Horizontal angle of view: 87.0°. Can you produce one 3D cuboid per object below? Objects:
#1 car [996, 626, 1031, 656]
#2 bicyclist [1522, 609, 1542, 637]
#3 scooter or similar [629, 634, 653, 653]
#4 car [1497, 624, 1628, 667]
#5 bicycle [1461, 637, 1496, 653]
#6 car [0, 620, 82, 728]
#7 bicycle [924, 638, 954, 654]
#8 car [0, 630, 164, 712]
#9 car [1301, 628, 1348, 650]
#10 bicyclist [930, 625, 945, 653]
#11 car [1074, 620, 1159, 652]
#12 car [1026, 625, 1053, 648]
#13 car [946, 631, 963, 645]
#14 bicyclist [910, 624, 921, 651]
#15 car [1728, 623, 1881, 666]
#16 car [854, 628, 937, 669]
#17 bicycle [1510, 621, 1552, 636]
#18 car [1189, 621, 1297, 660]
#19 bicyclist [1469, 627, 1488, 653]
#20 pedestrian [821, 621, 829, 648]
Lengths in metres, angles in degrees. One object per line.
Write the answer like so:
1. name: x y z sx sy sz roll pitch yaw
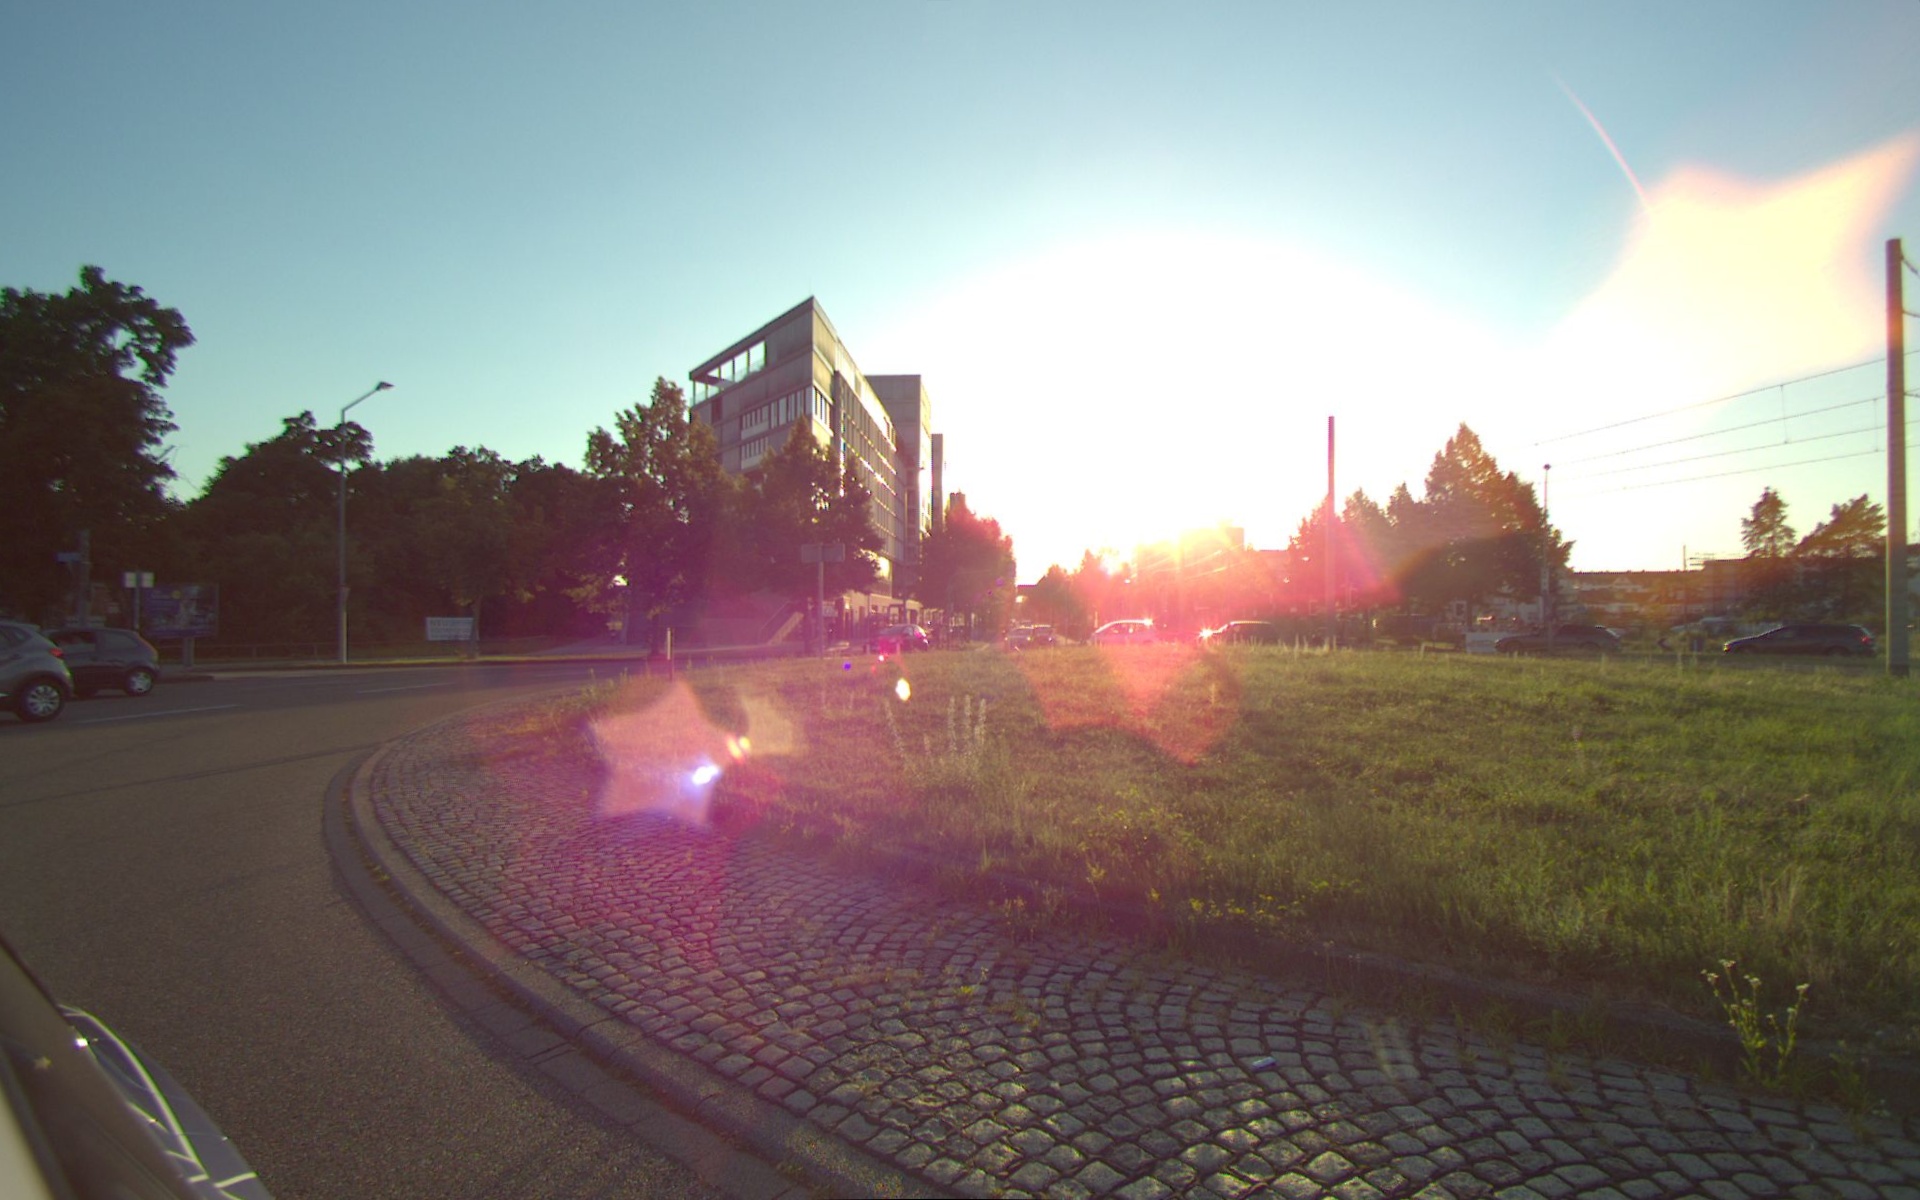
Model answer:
1. car: 3.201 2.388 60.023 1.756 1.715 3.990 0 -1 8
2. bicyclist: 34.209 1.373 60.552 0.684 1.646 0.800 1 -3 -37
3. scooter or similar: -21.515 2.929 68.193 1.562 1.229 0.365 -1 -2 14
4. car: 25.596 1.911 43.045 4.591 1.761 1.729 -2 -2 38
5. bicycle: 32.110 2.770 62.629 1.821 0.988 0.548 -1 -2 7
6. car: -14.793 1.060 13.856 1.727 1.548 3.986 -1 -1 11
7. bicycle: -1.361 2.963 64.922 1.843 1.030 0.436 -1 -2 11
8. car: -18.049 1.338 19.599 1.727 1.450 3.986 -1 -1 11
9. car: 25.313 2.710 70.445 1.727 1.457 4.134 0 -2 0
10. bicyclist: -1.418 2.461 64.482 0.840 1.769 0.801 -1 -2 10
11. car: 7.326 1.681 47.510 3.653 1.476 1.609 0 -2 -6
12. car: 5.837 2.659 73.958 1.756 1.622 3.990 0 -1 8
13. car: -0.625 4.330 115.528 1.779 1.475 3.996 0 -2 3
14. bicyclist: -2.789 2.324 63.321 0.674 1.660 0.685 0 -2 -6
15. car: 31.103 1.628 37.342 1.725 1.478 4.138 2 -3 -44
16. car: -2.729 2.032 43.466 1.769 1.633 3.962 -1 -1 28
17. bicycle: 34.229 1.725 60.720 0.504 0.852 2.140 1 -3 -37
18. car: 13.371 1.903 47.952 4.528 1.761 1.753 0 -2 -4
19. bicyclist: 32.064 2.472 62.611 0.805 1.653 0.813 -1 -2 7
20. pedestrian: -10.172 2.609 76.386 0.532 2.029 0.527 -1 -2 3
